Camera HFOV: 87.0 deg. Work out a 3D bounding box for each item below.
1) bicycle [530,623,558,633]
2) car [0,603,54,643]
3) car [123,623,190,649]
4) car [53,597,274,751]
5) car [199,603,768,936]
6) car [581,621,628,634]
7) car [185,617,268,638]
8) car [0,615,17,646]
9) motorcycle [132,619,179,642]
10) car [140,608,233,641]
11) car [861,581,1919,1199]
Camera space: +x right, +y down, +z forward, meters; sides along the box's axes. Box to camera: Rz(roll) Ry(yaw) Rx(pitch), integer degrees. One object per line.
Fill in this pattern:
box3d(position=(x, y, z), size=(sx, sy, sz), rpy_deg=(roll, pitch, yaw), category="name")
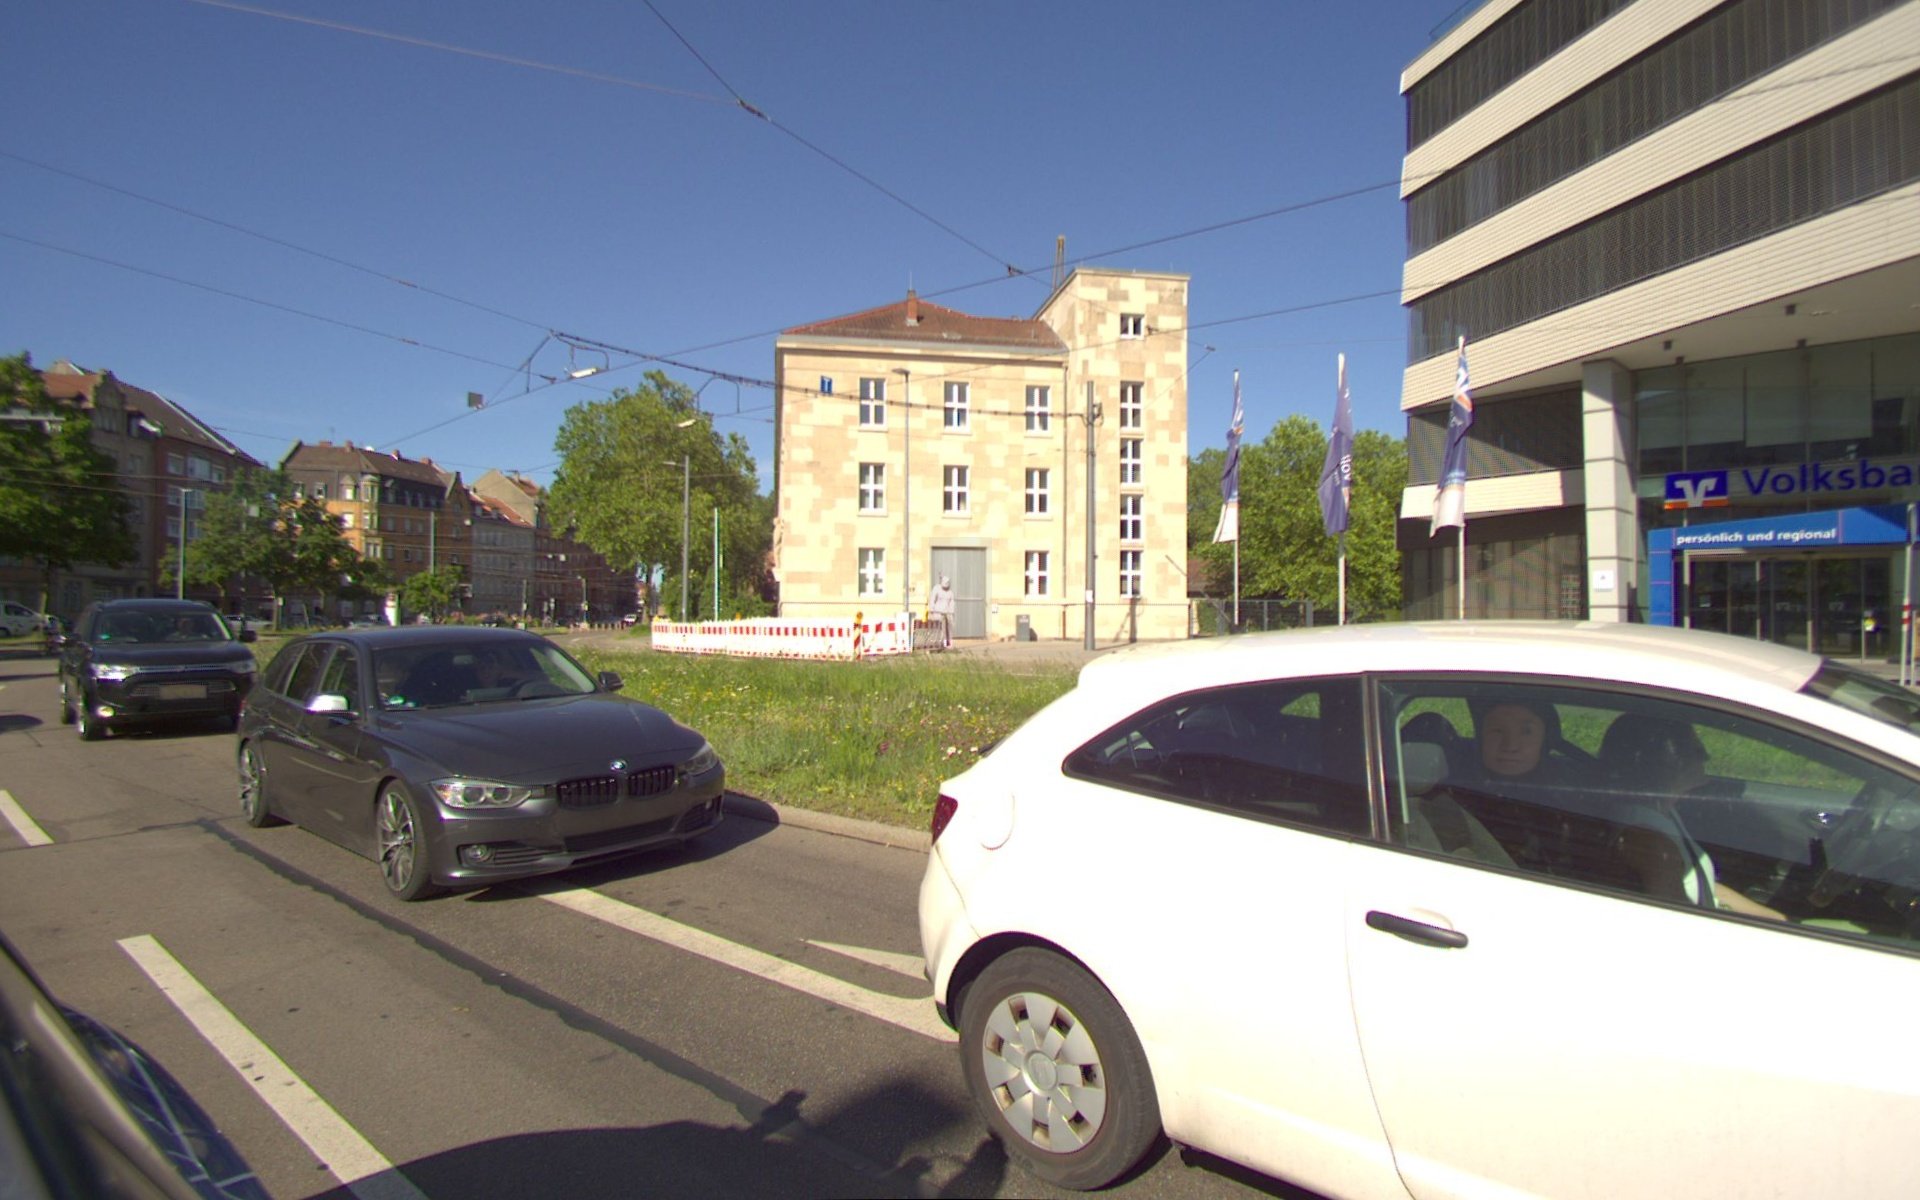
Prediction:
box3d(position=(-60.312, 4.075, 146.800), size=(1.940, 1.427, 6.837), rpy_deg=(0, -1, -7), category="bicycle")
box3d(position=(-50.292, 1.139, 52.253), size=(5.105, 2.028, 2.104), rpy_deg=(3, -2, -40), category="car")
box3d(position=(-63.394, 2.802, 79.957), size=(1.970, 1.484, 4.498), rpy_deg=(-9, 3, -8), category="car")
box3d(position=(-10.711, 0.857, 13.460), size=(1.815, 1.695, 4.646), rpy_deg=(0, -1, -45), category="car")
box3d(position=(-3.365, 0.794, 6.662), size=(4.465, 1.434, 1.716), rpy_deg=(-1, 1, 41), category="car")
box3d(position=(-41.847, 3.206, 119.305), size=(4.892, 1.464, 1.835), rpy_deg=(1, -2, 1), category="car")
box3d(position=(-55.535, 2.065, 76.647), size=(4.807, 1.446, 2.022), rpy_deg=(4, -3, -44), category="car")
box3d(position=(-49.035, 1.453, 49.635), size=(3.970, 1.490, 1.814), rpy_deg=(4, -2, -44), category="car")
box3d(position=(-53.025, 2.006, 66.696), size=(0.851, 1.431, 2.238), rpy_deg=(0, -3, 30), category="motorcycle")
box3d(position=(-53.554, 1.731, 70.105), size=(2.022, 2.091, 4.809), rpy_deg=(-1, -3, 45), category="car")
box3d(position=(1.687, 0.700, 2.205), size=(3.780, 1.434, 1.615), rpy_deg=(-1, 1, 41), category="car")
